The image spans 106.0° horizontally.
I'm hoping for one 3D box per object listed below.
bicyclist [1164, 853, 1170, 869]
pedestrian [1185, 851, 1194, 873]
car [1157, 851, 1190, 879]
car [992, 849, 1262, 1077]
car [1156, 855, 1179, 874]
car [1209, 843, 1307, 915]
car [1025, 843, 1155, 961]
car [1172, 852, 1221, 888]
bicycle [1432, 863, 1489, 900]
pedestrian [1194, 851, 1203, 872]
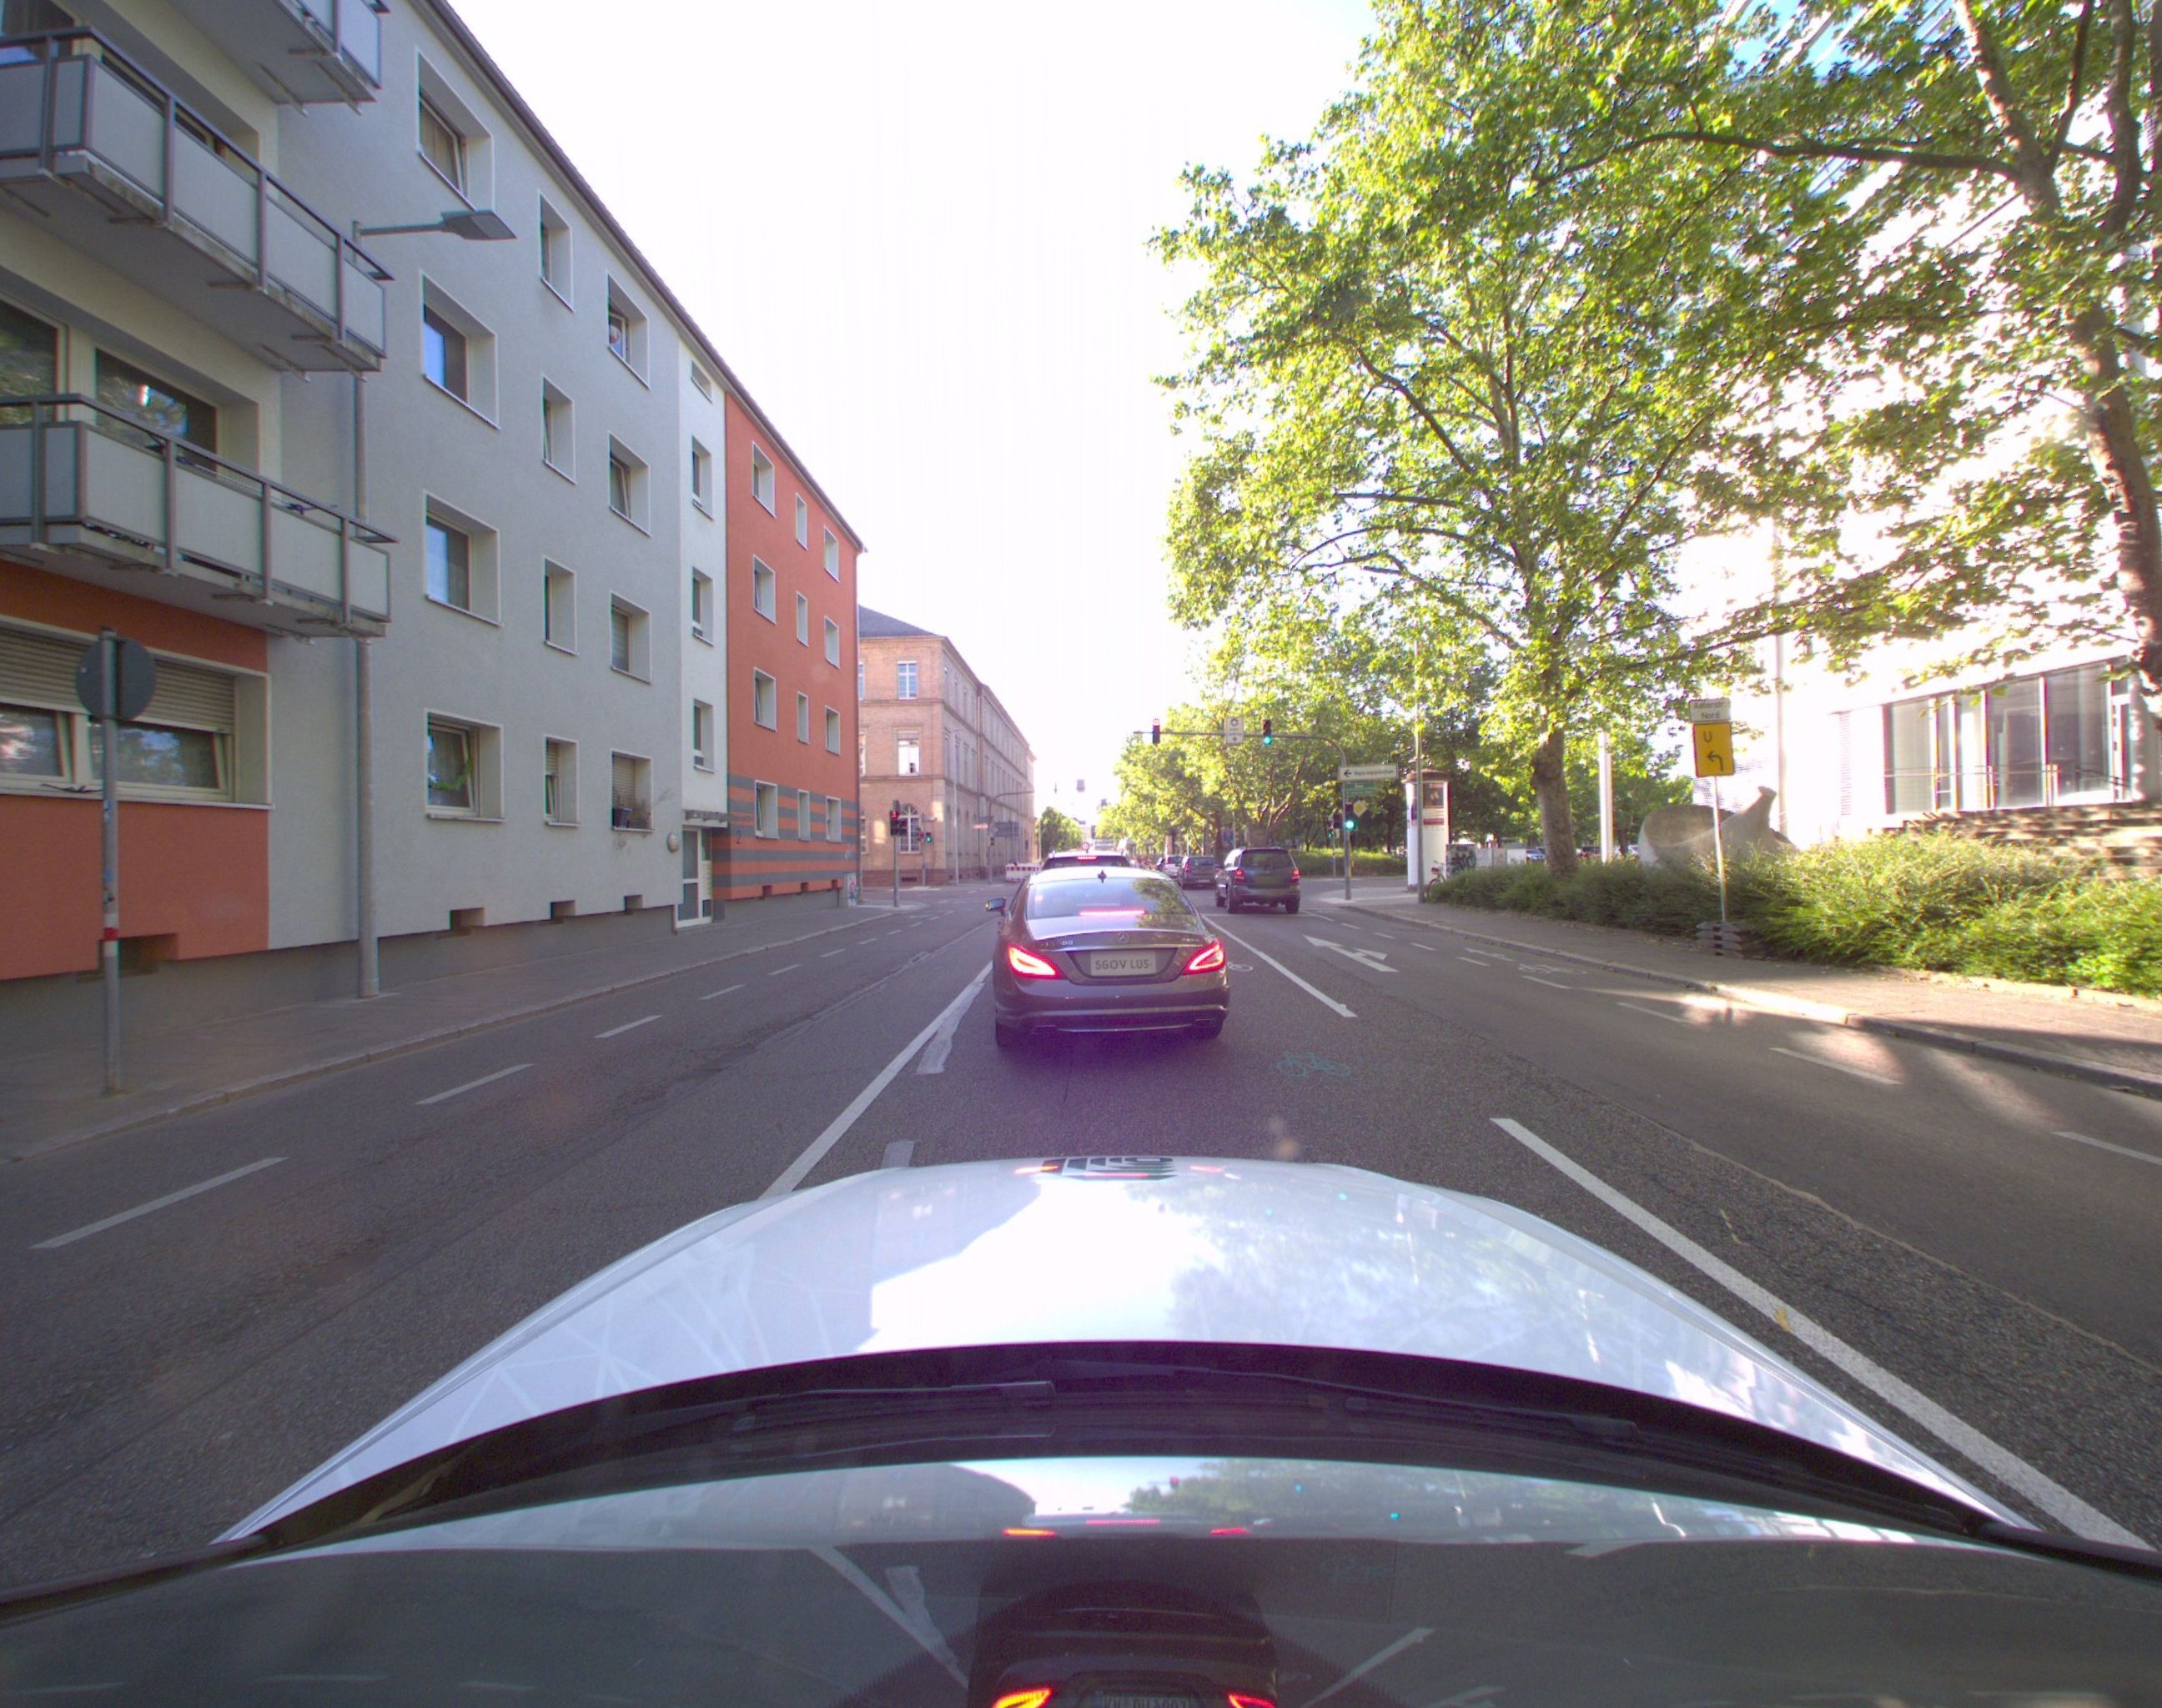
[{"bbox_3d":[11.081,0.857,104.922,0.593,2.039,0.566,0,-1,-3],"label":"bicyclist"},{"bbox_3d":[9.122,0.691,68.519,0.634,1.797,0.698,0,-1,-2],"label":"pedestrian"},{"bbox_3d":[5.641,0.655,50.149,1.725,1.662,3.682,0,-1,2],"label":"car"},{"bbox_3d":[0.145,0.738,7.588,1.859,1.519,3.992,-1,0,-6],"label":"car"},{"bbox_3d":[7.094,0.836,67.090,1.595,1.549,3.682,0,-1,2],"label":"car"},{"bbox_3d":[4.790,0.630,22.657,1.854,1.764,4.483,-1,0,2],"label":"car"},{"bbox_3d":[0.193,0.697,13.723,1.854,1.682,4.002,-1,0,2],"label":"car"},{"bbox_3d":[5.091,0.682,36.297,1.698,1.519,4.002,-1,0,2],"label":"car"},{"bbox_3d":[10.984,0.780,23.563,1.895,1.028,0.635,0,-1,-36],"label":"bicycle"},{"bbox_3d":[9.896,0.603,68.591,0.634,1.760,0.698,0,-1,-2],"label":"pedestrian"}]
